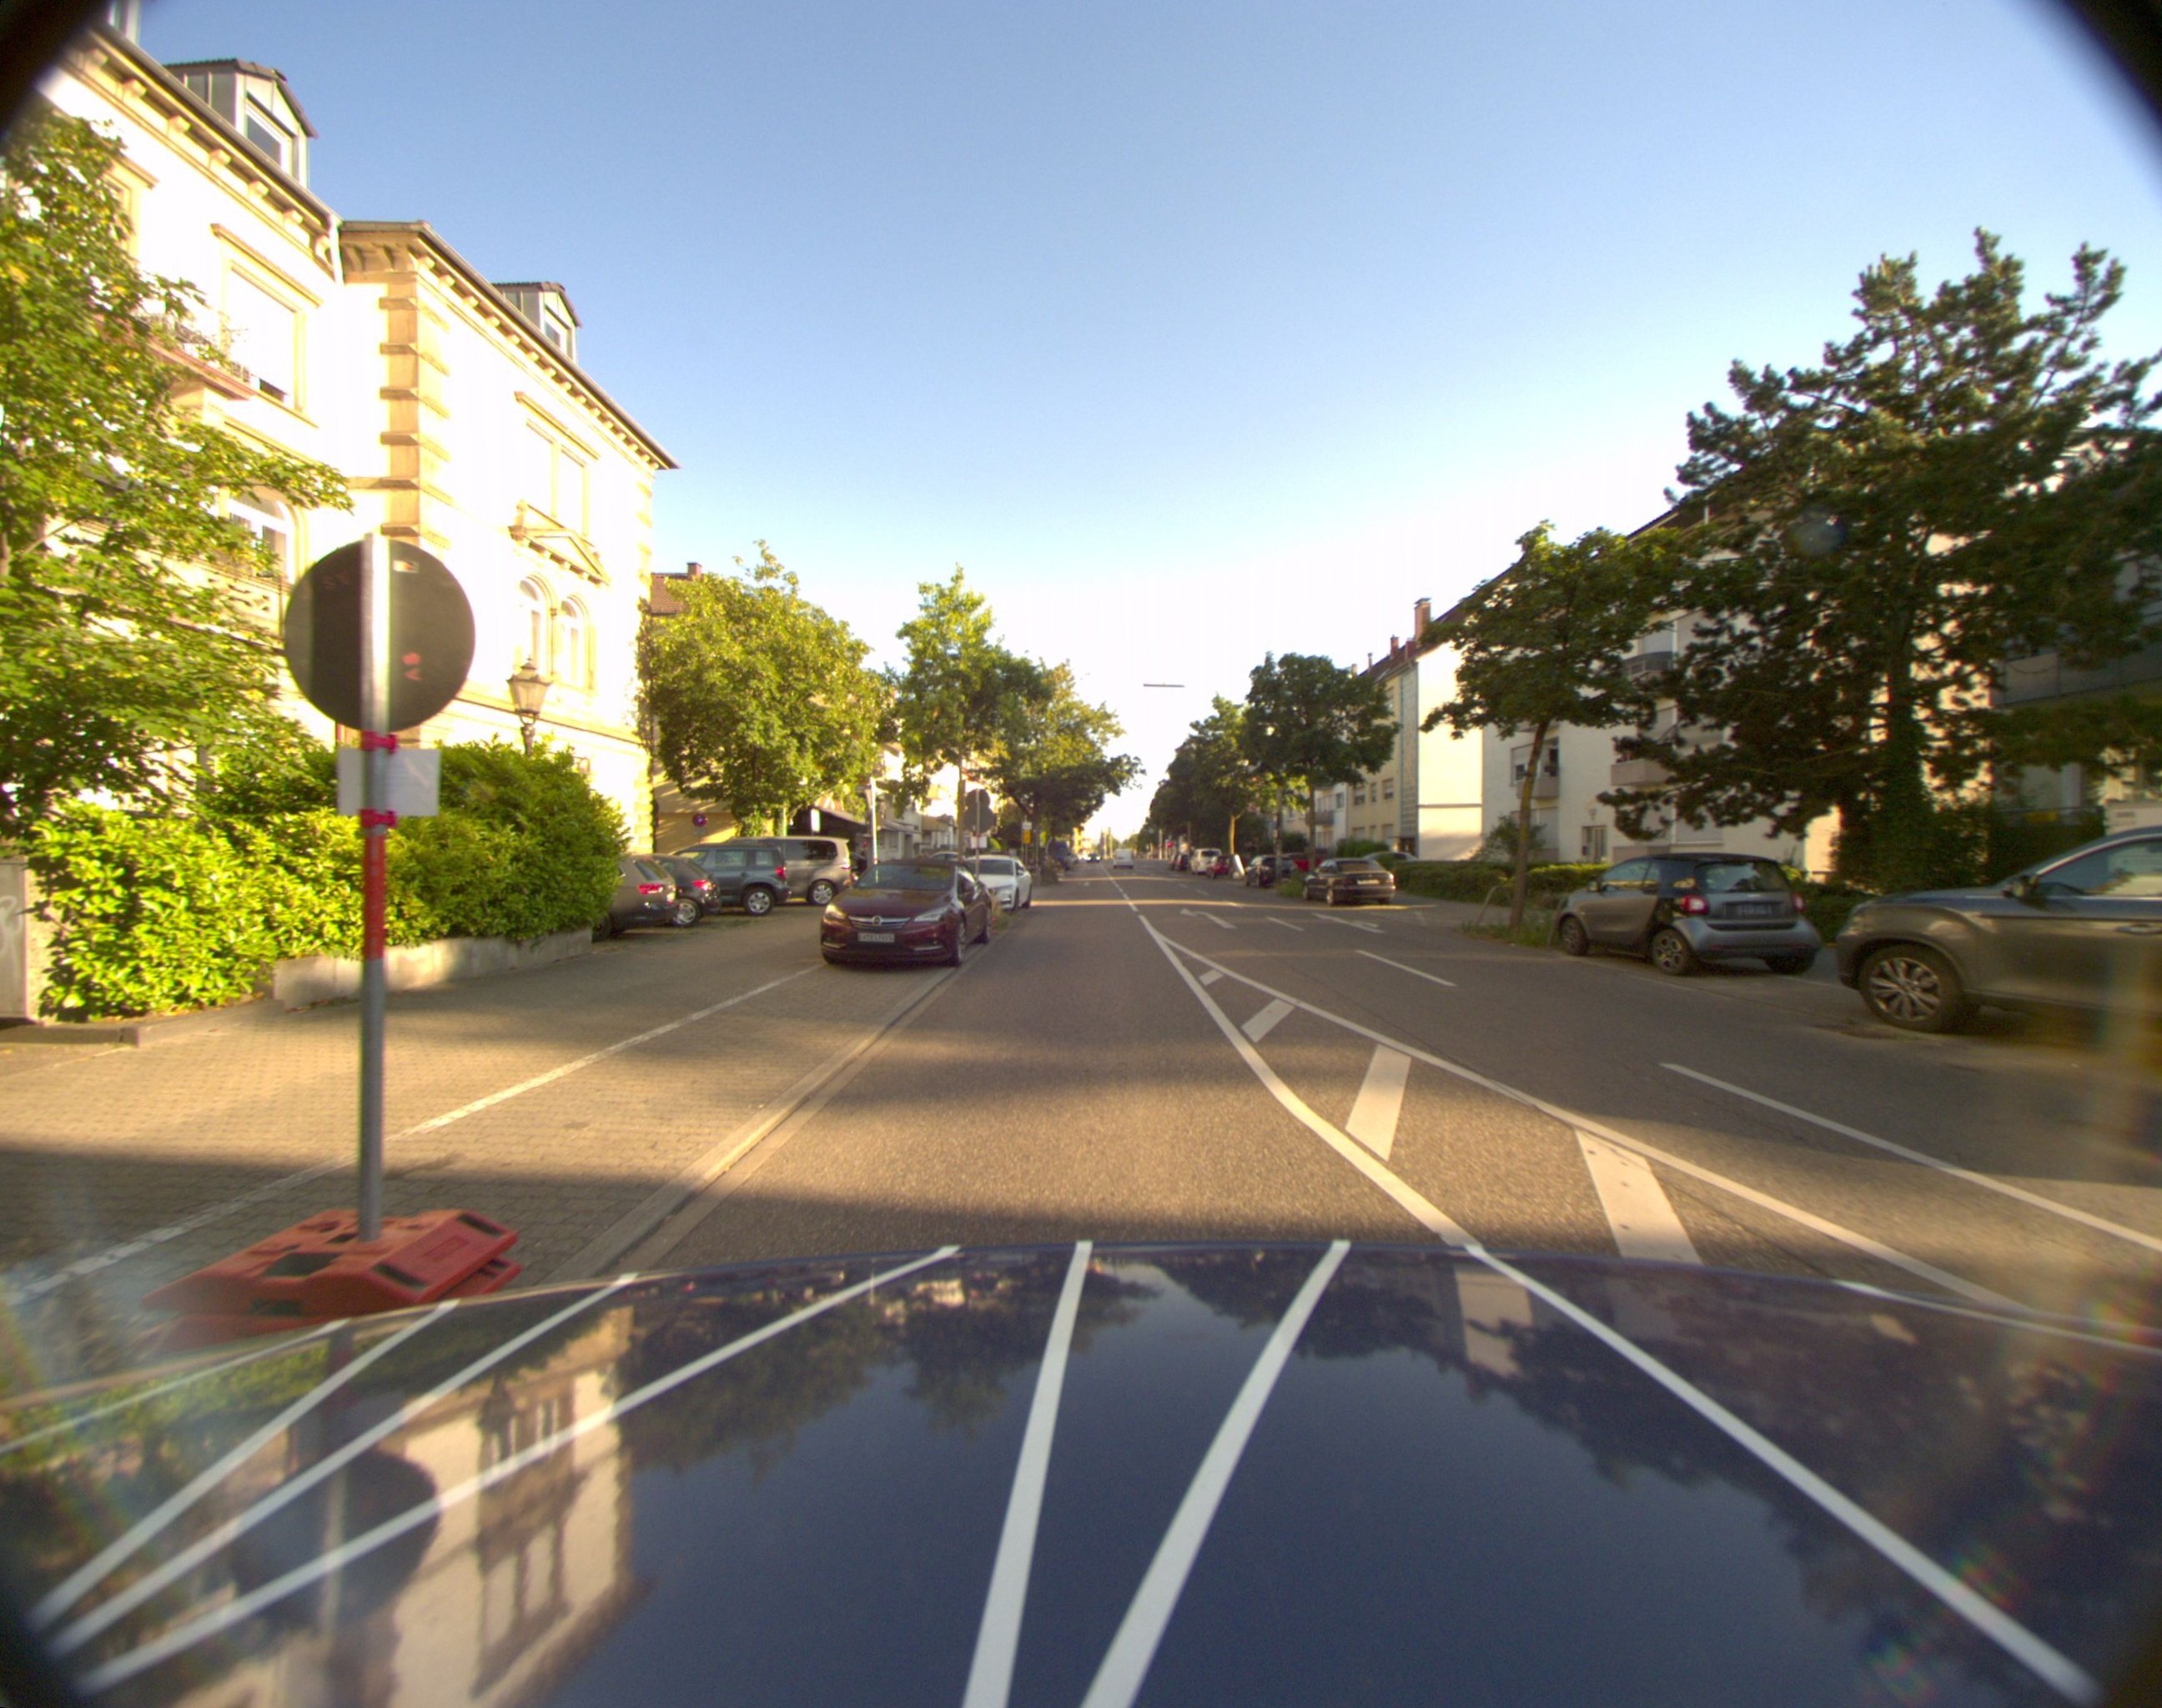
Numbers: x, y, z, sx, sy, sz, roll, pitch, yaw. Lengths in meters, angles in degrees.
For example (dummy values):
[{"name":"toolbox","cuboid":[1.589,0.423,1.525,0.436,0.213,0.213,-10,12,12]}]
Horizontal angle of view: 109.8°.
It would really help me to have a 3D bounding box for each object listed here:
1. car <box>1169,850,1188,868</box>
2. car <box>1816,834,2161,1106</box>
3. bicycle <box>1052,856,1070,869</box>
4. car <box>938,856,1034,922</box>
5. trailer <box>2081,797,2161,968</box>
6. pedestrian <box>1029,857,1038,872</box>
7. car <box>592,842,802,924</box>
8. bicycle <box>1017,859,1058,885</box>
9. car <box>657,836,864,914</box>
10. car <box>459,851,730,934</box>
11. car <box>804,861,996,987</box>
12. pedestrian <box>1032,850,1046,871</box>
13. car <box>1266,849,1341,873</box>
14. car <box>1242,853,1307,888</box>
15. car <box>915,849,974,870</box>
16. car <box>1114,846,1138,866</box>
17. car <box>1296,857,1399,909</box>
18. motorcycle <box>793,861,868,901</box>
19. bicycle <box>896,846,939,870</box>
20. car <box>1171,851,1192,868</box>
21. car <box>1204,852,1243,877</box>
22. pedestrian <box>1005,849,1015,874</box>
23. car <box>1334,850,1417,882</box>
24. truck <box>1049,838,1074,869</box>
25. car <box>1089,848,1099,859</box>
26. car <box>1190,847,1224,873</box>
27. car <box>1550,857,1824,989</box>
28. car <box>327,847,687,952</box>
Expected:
[{"name":"car","cuboid":[8.815,0.437,68.865,1.407,1.456,3.682,-2,1,2]},{"name":"car","cuboid":[7.984,0.754,4.896,1.892,1.769,4.725,0,1,0]},{"name":"bicycle","cuboid":[-1.621,0.672,62.835,1.469,1.058,0.445,0,1,1]},{"name":"car","cuboid":[-2.335,0.825,19.882,1.825,1.469,4.621,0,0,1]},{"name":"trailer","cuboid":[14.059,0.332,8.858,2.780,2.002,1.552,0,1,-1]},{"name":"pedestrian","cuboid":[-3.417,0.730,54.792,0.553,1.053,0.532,0,1,2]},{"name":"car","cuboid":[-8.700,0.599,17.413,4.106,1.690,1.783,0,1,-29]},{"name":"bicycle","cuboid":[-2.081,0.850,36.221,1.894,1.155,0.616,2,2,28]},{"name":"car","cuboid":[-8.572,0.496,20.508,4.946,1.888,1.916,0,1,-28]},{"name":"car","cuboid":[-9.064,0.710,14.581,4.105,1.432,1.713,2,0,-22]},{"name":"car","cuboid":[-2.472,0.879,11.601,1.761,1.412,4.614,2,1,0]},{"name":"pedestrian","cuboid":[-2.940,0.458,53.494,0.917,1.436,0.811,0,1,-1]},{"name":"car","cuboid":[15.181,0.453,51.913,4.563,1.397,1.739,-2,1,-9]},{"name":"car","cuboid":[8.560,0.686,33.986,1.862,1.477,3.999,0,0,0]},{"name":"car","cuboid":[-9.556,0.376,53.331,3.878,1.496,1.575,0,1,-4]},{"name":"car","cuboid":[4.239,0.143,72.442,1.893,1.793,4.430,2,0,-1]},{"name":"car","cuboid":[8.055,0.820,23.371,1.641,1.399,4.443,0,0,0]},{"name":"motorcycle","cuboid":[-7.922,0.843,24.135,2.163,1.232,0.789,0,1,-9]},{"name":"bicycle","cuboid":[-10.152,0.252,47.193,2.459,1.433,0.928,0,1,-1]},{"name":"car","cuboid":[8.566,0.452,64.904,1.407,1.397,3.682,-2,1,2]},{"name":"car","cuboid":[8.719,0.607,46.672,1.740,1.455,3.636,0,1,1]},{"name":"pedestrian","cuboid":[-4.925,0.529,52.947,0.619,1.761,0.562,0,0,2]},{"name":"car","cuboid":[14.592,0.577,37.746,3.467,1.515,1.686,0,1,2]},{"name":"truck","cuboid":[-1.669,-0.079,66.412,1.998,2.629,5.615,0,1,1]},{"name":"car","cuboid":[1.966,-0.088,115.874,1.596,1.696,4.000,0,1,1]},{"name":"car","cuboid":[8.844,0.390,53.673,1.740,1.799,4.191,0,1,1]},{"name":"car","cuboid":[8.120,0.837,10.493,1.577,1.546,2.749,0,1,0]},{"name":"car","cuboid":[-8.926,0.700,12.280,4.255,1.502,1.789,2,0,-17]}]
